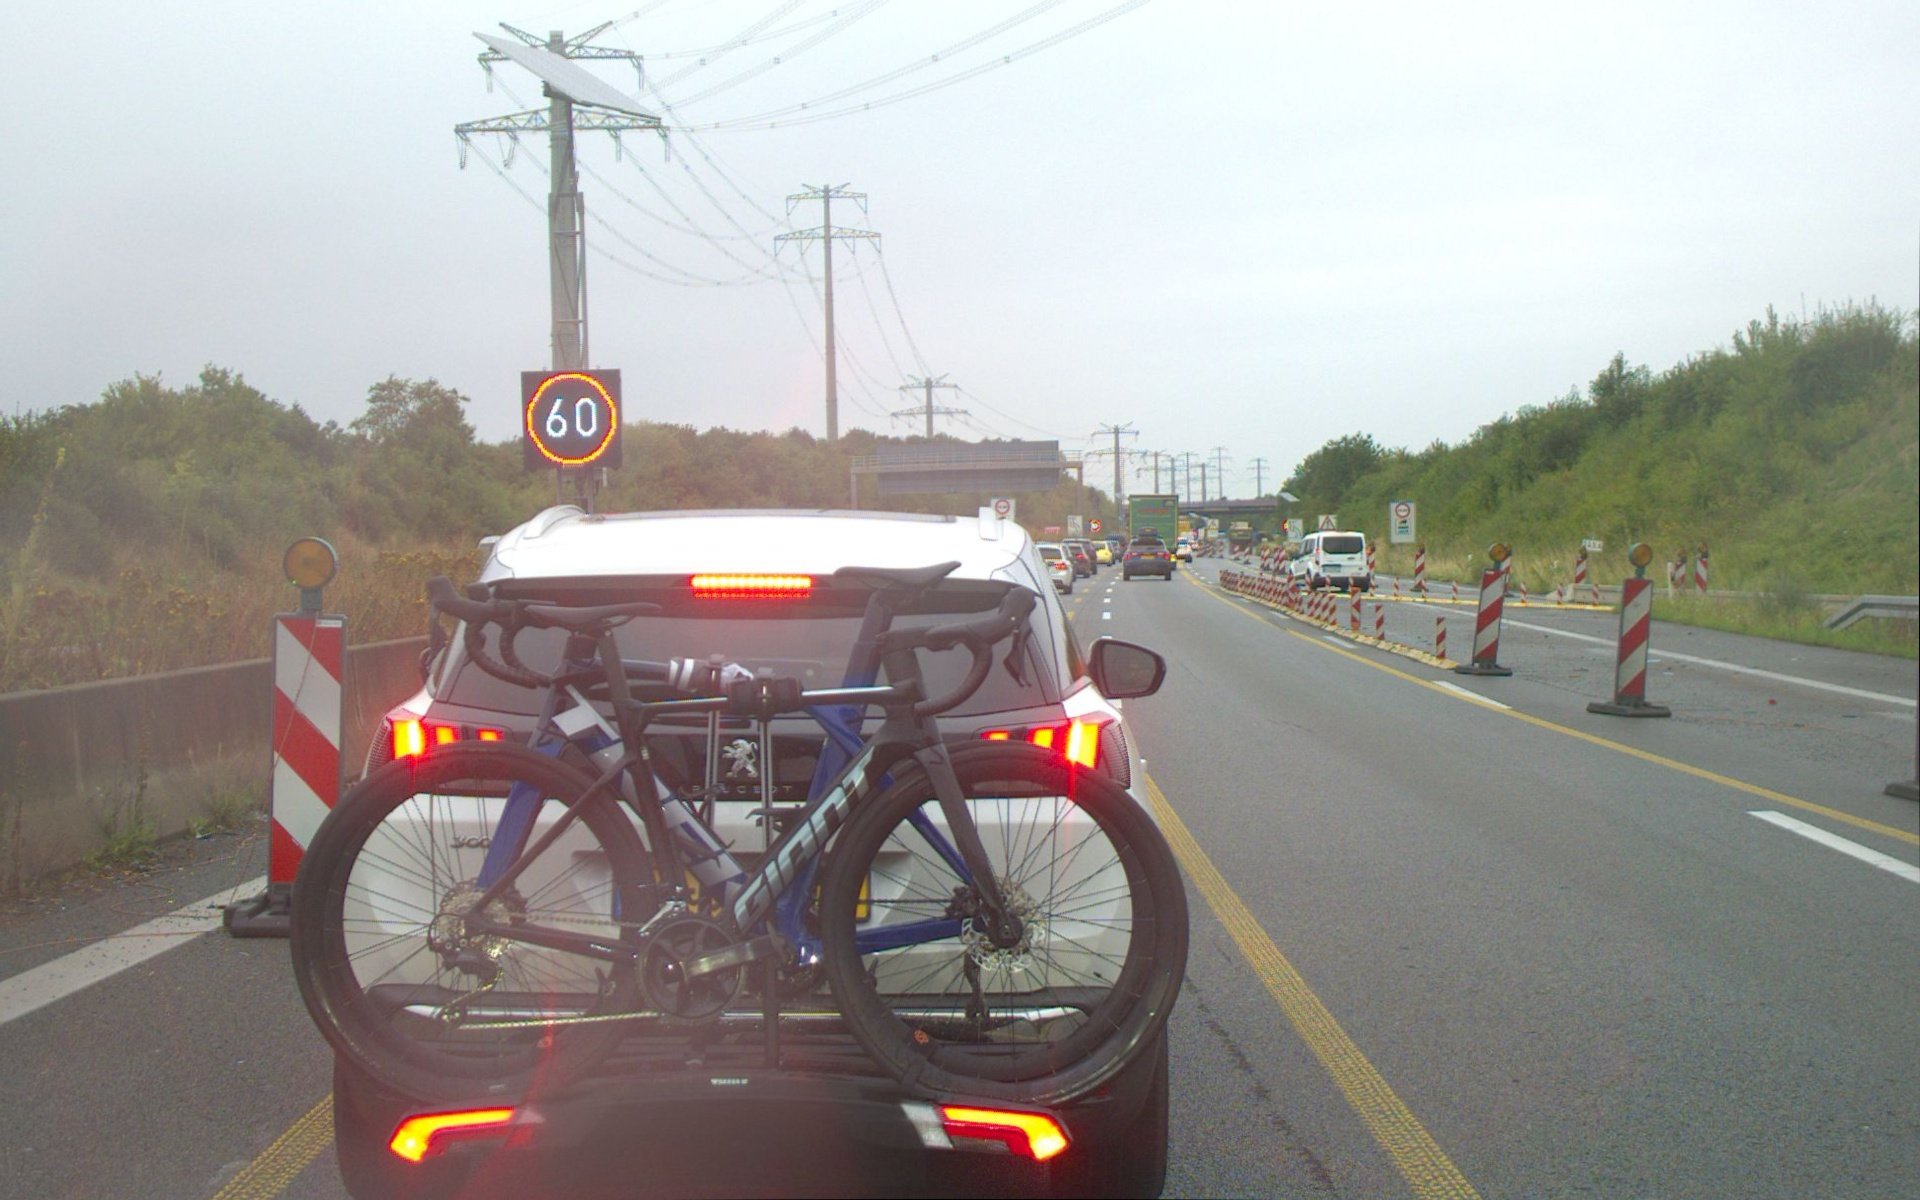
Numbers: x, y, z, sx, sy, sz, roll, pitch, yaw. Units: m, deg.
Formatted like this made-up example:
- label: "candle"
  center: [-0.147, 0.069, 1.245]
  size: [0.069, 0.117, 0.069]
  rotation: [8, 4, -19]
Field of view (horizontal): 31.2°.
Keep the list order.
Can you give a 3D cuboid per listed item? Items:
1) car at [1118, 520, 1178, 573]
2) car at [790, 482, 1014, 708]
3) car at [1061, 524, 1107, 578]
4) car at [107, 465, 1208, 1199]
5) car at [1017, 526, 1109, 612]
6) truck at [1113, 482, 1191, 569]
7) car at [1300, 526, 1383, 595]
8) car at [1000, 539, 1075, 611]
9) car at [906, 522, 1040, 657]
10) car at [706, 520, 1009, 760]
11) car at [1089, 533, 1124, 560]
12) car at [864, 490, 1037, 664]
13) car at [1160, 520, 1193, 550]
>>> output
- label: "car"
  center: [7.223, -2.043, 132.421]
  size: [1.993, 2.007, 4.000]
  rotation: [1, 0, -1]
- label: "car"
  center: [-0.551, -0.085, 33.322]
  size: [1.993, 2.007, 4.000]
  rotation: [-1, 1, -1]
- label: "car"
  center: [4.651, -1.836, 128.505]
  size: [1.654, 2.007, 4.000]
  rotation: [0, 1, 3]
- label: "car"
  center: [-0.473, 0.527, 8.317]
  size: [1.928, 1.605, 4.595]
  rotation: [0, 1, 2]
- label: "car"
  center: [2.524, -0.737, 85.027]
  size: [1.993, 2.007, 4.000]
  rotation: [-1, -1, -2]
- label: "truck"
  center: [10.183, -4.055, 183.571]
  size: [3.731, 3.808, 11.871]
  rotation: [1, 5, 1]
- label: "car"
  center: [11.532, -1.217, 104.168]
  size: [1.993, 2.007, 4.000]
  rotation: [-1, 1, -1]
- label: "car"
  center: [2.193, -0.717, 98.810]
  size: [1.993, 2.007, 4.000]
  rotation: [1, 0, -1]
- label: "car"
  center: [0.177, -0.169, 53.789]
  size: [1.993, 2.007, 4.000]
  rotation: [1, 0, -1]
- label: "car"
  center: [-0.701, 0.221, 24.658]
  size: [1.993, 1.578, 4.000]
  rotation: [0, 1, -1]
- label: "car"
  center: [9.552, -3.502, 224.301]
  size: [1.993, 1.729, 3.783]
  rotation: [-1, 1, 0]
- label: "car"
  center: [-0.125, -0.310, 42.635]
  size: [1.993, 2.007, 4.000]
  rotation: [-1, 1, 0]
- label: "car"
  center: [15.041, -4.541, 239.513]
  size: [1.993, 2.007, 4.000]
  rotation: [0, 1, -1]
